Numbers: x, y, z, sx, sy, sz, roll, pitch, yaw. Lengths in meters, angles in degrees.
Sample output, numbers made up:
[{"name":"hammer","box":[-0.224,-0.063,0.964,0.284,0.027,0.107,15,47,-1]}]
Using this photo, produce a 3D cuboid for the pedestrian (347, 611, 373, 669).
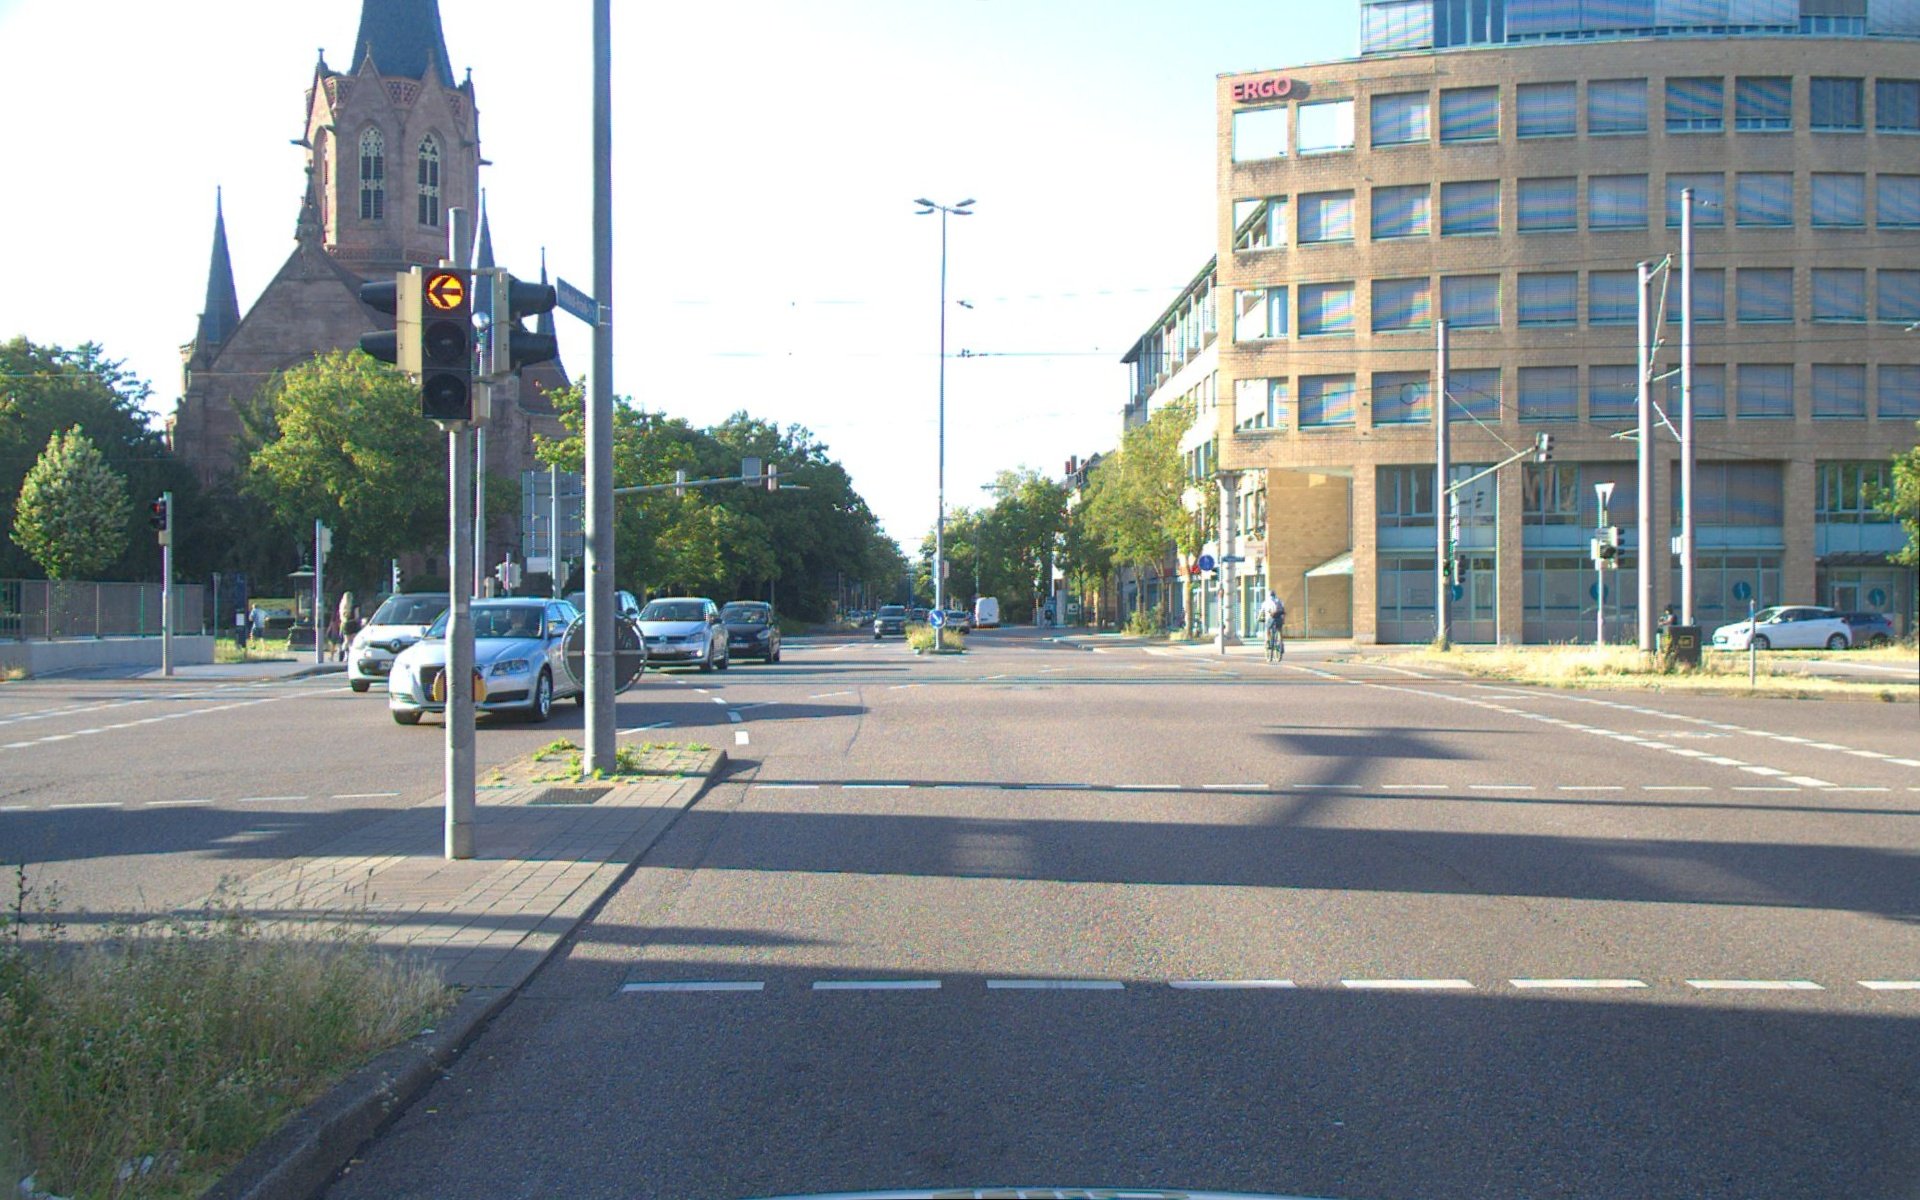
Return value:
[{"name":"pedestrian","box":[-18.119,1.208,49.951,0.697,1.726,0.891,1,-1,-20]}]

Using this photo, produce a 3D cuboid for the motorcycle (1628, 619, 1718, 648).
[{"name":"motorcycle","box":[24.549,1.141,56.989,2.663,0.981,1.031,0,-1,-2]}]

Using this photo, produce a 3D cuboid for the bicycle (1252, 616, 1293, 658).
[{"name":"bicycle","box":[7.610,0.882,40.331,0.580,0.959,1.978,1,0,-1]}]

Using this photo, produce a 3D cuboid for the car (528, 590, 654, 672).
[{"name":"car","box":[-8.578,0.659,38.844,1.778,1.740,4.786,-2,0,1]}]

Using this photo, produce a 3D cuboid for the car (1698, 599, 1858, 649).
[{"name":"car","box":[25.664,0.754,51.982,4.080,1.518,1.994,0,-1,-3]}]

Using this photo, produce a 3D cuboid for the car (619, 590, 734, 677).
[{"name":"car","box":[-5.577,0.622,32.900,1.641,1.571,3.805,-2,0,-1]}]

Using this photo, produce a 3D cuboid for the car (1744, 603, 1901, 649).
[{"name":"car","box":[29.756,0.892,57.172,4.390,1.564,1.986,0,-1,-1]}]

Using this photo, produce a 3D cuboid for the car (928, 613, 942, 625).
[{"name":"car","box":[-2.860,2.133,188.920,1.562,1.289,3.266,0,0,-1]}]

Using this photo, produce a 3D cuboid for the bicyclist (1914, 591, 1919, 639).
[{"name":"bicyclist","box":[32.346,0.495,54.465,1.198,1.599,1.153,0,-1,-3]}]

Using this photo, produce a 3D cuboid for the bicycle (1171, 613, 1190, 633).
[{"name":"bicycle","box":[11.293,1.167,84.879,0.633,1.012,2.080,0,0,-2]}]

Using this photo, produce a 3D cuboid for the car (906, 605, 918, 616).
[{"name":"car","box":[-7.283,1.624,251.261,1.848,1.700,3.999,1,0,-1]}]

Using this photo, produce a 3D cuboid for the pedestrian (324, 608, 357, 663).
[{"name":"pedestrian","box":[-19.718,1.137,52.617,0.833,1.726,1.007,1,-1,-29]}]

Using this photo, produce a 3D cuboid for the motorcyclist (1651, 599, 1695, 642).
[{"name":"motorcyclist","box":[24.562,0.697,56.995,1.044,1.460,1.031,0,-1,-2]}]

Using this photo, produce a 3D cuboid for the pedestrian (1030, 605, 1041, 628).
[{"name":"pedestrian","box":[5.993,1.319,130.857,0.830,1.835,0.775,0,0,-1]}]

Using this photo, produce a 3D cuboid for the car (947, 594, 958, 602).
[{"name":"car","box":[-1.185,-0.270,255.135,1.562,1.289,3.266,0,0,-1]}]

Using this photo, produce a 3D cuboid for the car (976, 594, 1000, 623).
[{"name":"car","box":[2.425,0.763,144.588,1.953,2.483,3.999,1,0,-1]}]

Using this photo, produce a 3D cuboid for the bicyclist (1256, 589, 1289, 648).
[{"name":"bicyclist","box":[7.606,0.442,40.240,0.580,1.393,0.929,1,0,-1]}]

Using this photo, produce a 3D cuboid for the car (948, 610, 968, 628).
[{"name":"car","box":[-0.174,1.469,128.316,1.562,1.289,3.266,0,0,-1]}]

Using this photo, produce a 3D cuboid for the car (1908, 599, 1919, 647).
[{"name":"car","box":[32.424,0.730,52.239,3.970,1.518,1.819,0,-1,-2]}]

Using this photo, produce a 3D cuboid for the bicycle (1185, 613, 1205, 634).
[{"name":"bicycle","box":[11.401,1.147,80.327,0.633,1.012,2.080,0,0,-2]}]

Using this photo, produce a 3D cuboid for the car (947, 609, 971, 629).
[{"name":"car","box":[-0.061,1.278,110.545,1.562,1.289,3.266,0,0,-1]}]

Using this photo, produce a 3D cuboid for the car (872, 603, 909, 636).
[{"name":"car","box":[-3.798,1.048,90.724,1.953,1.754,5.029,-1,0,-2]}]

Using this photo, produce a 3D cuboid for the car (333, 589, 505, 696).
[{"name":"car","box":[-8.793,0.641,27.170,1.641,1.571,3.637,-2,0,-1]}]

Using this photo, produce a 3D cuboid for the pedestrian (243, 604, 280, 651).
[{"name":"pedestrian","box":[-26.147,1.031,61.909,0.994,1.726,0.843,1,-1,29]}]

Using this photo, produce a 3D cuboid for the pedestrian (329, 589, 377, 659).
[{"name":"pedestrian","box":[-15.473,0.616,42.185,0.945,1.770,0.811,0,-1,-3]}]

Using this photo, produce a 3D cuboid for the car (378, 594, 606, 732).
[{"name":"car","box":[-5.623,0.691,20.380,1.674,1.450,4.101,-2,0,-1]}]

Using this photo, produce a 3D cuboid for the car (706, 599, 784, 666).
[{"name":"car","box":[-5.420,0.791,42.053,1.546,1.571,3.476,-2,0,-1]}]
